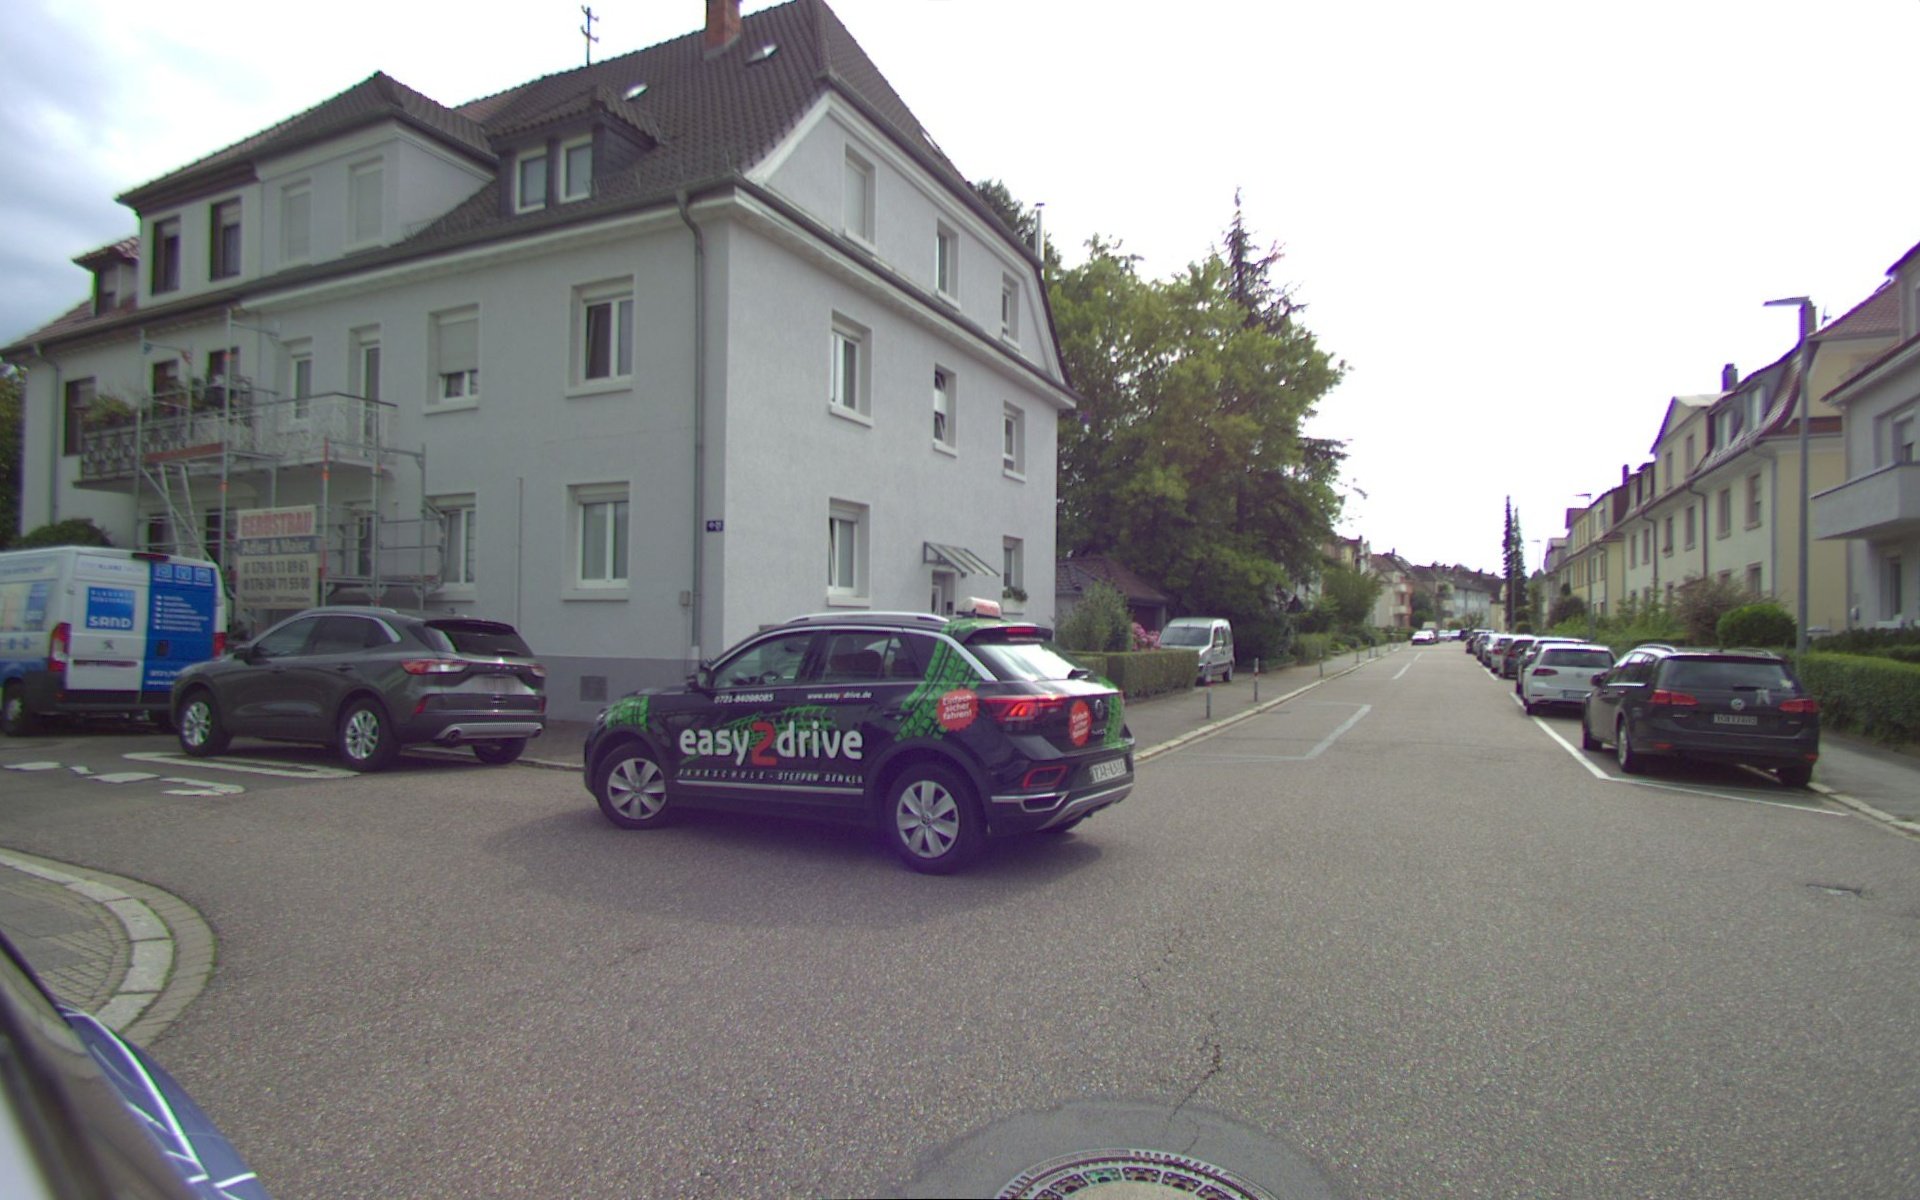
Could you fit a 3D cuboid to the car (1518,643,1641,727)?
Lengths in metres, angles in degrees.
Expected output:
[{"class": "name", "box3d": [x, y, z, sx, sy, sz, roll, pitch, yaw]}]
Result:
[{"class": "car", "box3d": [12.764, 1.678, 21.075, 1.851, 1.483, 4.136, 0, -2, 27]}]

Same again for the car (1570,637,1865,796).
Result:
[{"class": "car", "box3d": [8.777, 1.221, 12.175, 1.848, 1.483, 4.143, 0, -1, 23]}]

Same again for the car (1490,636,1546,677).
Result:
[{"class": "car", "box3d": [22.361, 2.225, 40.684, 1.851, 1.483, 4.136, 0, -2, 27]}]

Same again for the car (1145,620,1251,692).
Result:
[{"class": "car", "box3d": [6.704, 1.501, 28.260, 1.990, 1.852, 3.962, 0, -2, 28]}]

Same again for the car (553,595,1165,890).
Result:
[{"class": "car", "box3d": [-0.797, 0.828, 7.127, 4.029, 1.531, 1.802, -2, -3, 32]}]

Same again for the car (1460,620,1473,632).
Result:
[{"class": "car", "box3d": [91.643, 4.622, 183.164, 1.992, 2.140, 3.960, 0, -2, 29]}]

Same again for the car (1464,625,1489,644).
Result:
[{"class": "car", "box3d": [45.264, 2.997, 88.671, 1.850, 1.590, 4.138, 0, -2, 26]}]

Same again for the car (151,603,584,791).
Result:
[{"class": "car", "box3d": [-6.537, 0.926, 11.180, 4.315, 1.740, 1.984, 0, -2, 24]}]

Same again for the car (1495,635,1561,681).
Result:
[{"class": "car", "box3d": [20.100, 1.993, 35.939, 1.851, 1.483, 4.136, 0, -2, 27]}]

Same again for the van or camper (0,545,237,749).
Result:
[{"class": "van or camper", "box3d": [-12.959, 0.606, 14.403, 5.026, 2.478, 2.180, 0, -2, 26]}]

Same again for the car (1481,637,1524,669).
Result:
[{"class": "car", "box3d": [27.629, 2.674, 51.613, 1.851, 1.483, 4.136, 0, -2, 27]}]

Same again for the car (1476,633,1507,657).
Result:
[{"class": "car", "box3d": [37.423, 3.120, 71.292, 1.851, 1.590, 4.136, 0, -2, 27]}]

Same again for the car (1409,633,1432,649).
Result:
[{"class": "car", "box3d": [49.661, 4.411, 109.107, 1.992, 1.652, 3.960, 0, -2, 29]}]

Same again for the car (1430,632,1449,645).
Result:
[{"class": "car", "box3d": [63.660, 5.065, 134.299, 1.992, 1.652, 3.960, 0, -2, 29]}]

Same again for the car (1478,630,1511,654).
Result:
[{"class": "car", "box3d": [35.097, 2.753, 66.575, 1.851, 1.483, 4.136, 0, -2, 27]}]

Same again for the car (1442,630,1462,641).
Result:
[{"class": "car", "box3d": [70.980, 5.120, 145.912, 1.995, 1.548, 3.953, -2, -2, 35]}]

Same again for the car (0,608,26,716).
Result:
[{"class": "car", "box3d": [-18.184, 1.019, 17.088, 4.315, 1.785, 1.984, 0, -2, 24]}]

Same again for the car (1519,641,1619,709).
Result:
[{"class": "car", "box3d": [15.209, 1.812, 25.453, 1.851, 1.483, 4.136, 0, -2, 27]}]

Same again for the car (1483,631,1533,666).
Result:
[{"class": "car", "box3d": [24.729, 2.160, 45.757, 1.851, 1.483, 4.136, 0, -2, 27]}]

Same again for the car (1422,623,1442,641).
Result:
[{"class": "car", "box3d": [55.620, 3.741, 119.258, 1.991, 2.029, 3.961, 0, -2, 28]}]
